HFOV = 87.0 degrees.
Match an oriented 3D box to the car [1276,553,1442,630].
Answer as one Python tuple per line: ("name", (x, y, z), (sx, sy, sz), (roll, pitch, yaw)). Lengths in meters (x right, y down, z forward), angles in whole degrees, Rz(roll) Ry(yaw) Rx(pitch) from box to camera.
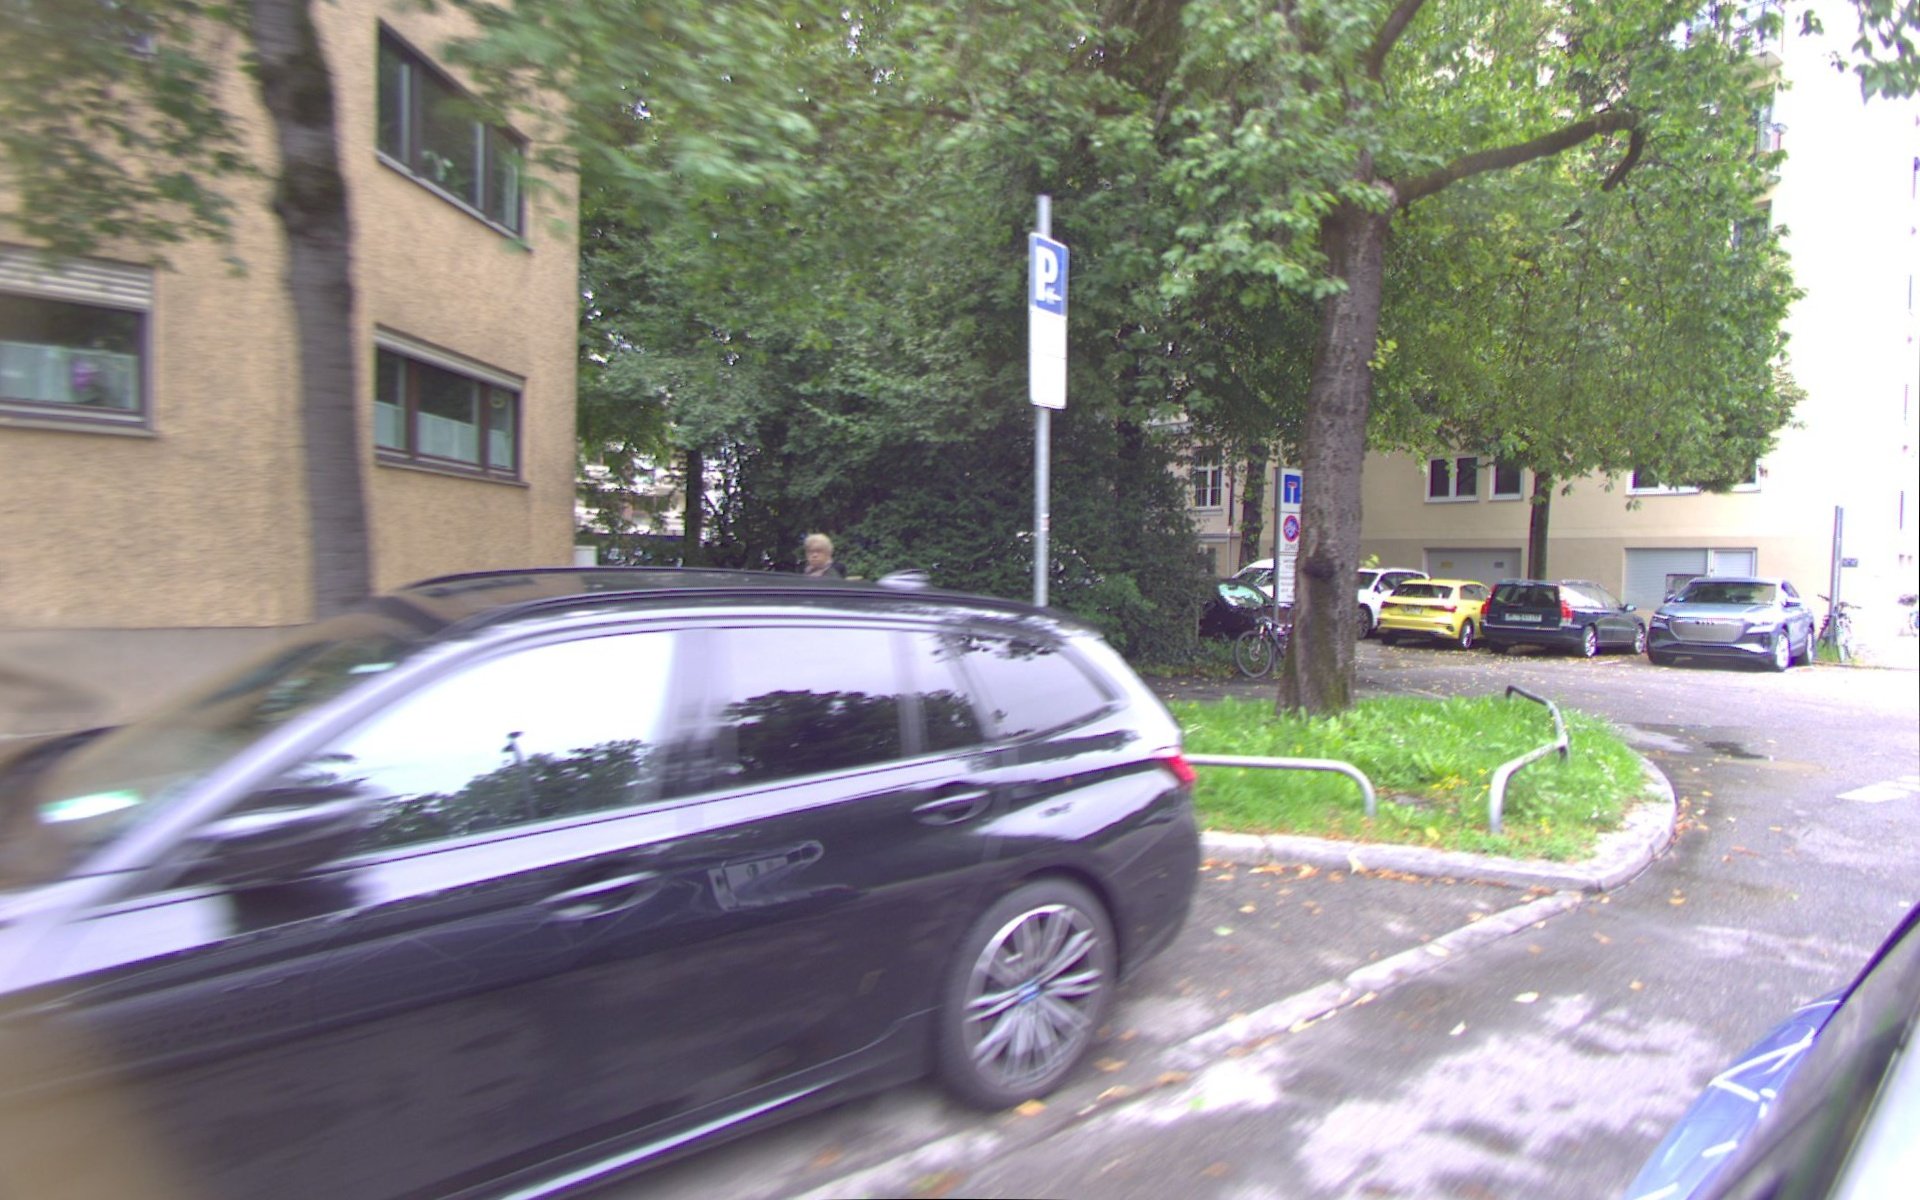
("car", (9.435, -0.252, 23.789), (4.171, 1.640, 1.916), (-1, 3, -41))

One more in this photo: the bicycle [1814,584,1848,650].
("bicycle", (16.941, 0.316, 19.677), (1.217, 1.246, 0.282), (-1, 2, -40))

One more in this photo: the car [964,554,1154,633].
("car", (2.028, -0.203, 21.749), (1.703, 1.515, 4.043), (-1, 3, -39))

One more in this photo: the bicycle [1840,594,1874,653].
("bicycle", (17.090, 0.438, 19.284), (1.217, 1.074, 0.282), (-1, 2, -40))

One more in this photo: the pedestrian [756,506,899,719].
("pedestrian", (-1.086, 0.072, 8.329), (0.962, 1.643, 0.673), (-2, 3, -36))

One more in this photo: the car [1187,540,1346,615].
("car", (7.886, -0.596, 25.893), (4.170, 1.772, 1.916), (-1, 3, -40))

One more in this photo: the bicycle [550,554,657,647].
("bicycle", (-5.296, -0.045, 14.932), (0.692, 1.232, 2.429), (-1, 3, -40))

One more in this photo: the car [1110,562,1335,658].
("car", (4.651, 0.092, 18.347), (1.701, 1.515, 3.709), (-1, 3, -36))

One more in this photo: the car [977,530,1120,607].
("car", (2.780, -0.997, 32.094), (4.093, 2.342, 1.909), (0, 2, -15))

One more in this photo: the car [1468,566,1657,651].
("car", (12.159, 0.090, 20.328), (4.171, 1.485, 2.052), (-1, 3, -41))

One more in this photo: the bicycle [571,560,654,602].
("bicycle", (-7.787, -0.437, 22.754), (0.531, 0.924, 1.733), (2, 3, 42))

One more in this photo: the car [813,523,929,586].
("car", (-3.615, -1.856, 41.377), (4.597, 2.441, 1.981), (1, 2, -4))

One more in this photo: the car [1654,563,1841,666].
("car", (14.038, 0.169, 17.954), (4.171, 1.584, 1.824), (-1, 3, -41))

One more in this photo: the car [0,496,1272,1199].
("car", (-1.271, 0.537, 2.710), (4.295, 1.514, 1.798), (-1, 5, -37))

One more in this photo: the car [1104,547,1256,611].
("car", (6.052, -0.601, 27.654), (4.170, 1.619, 1.916), (-1, 3, -40))

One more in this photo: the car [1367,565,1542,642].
("car", (10.777, 0.017, 21.953), (4.171, 1.485, 1.916), (-1, 3, -41))

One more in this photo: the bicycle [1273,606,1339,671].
("bicycle", (4.946, 0.536, 14.458), (1.058, 0.891, 0.250), (0, 2, -30))
